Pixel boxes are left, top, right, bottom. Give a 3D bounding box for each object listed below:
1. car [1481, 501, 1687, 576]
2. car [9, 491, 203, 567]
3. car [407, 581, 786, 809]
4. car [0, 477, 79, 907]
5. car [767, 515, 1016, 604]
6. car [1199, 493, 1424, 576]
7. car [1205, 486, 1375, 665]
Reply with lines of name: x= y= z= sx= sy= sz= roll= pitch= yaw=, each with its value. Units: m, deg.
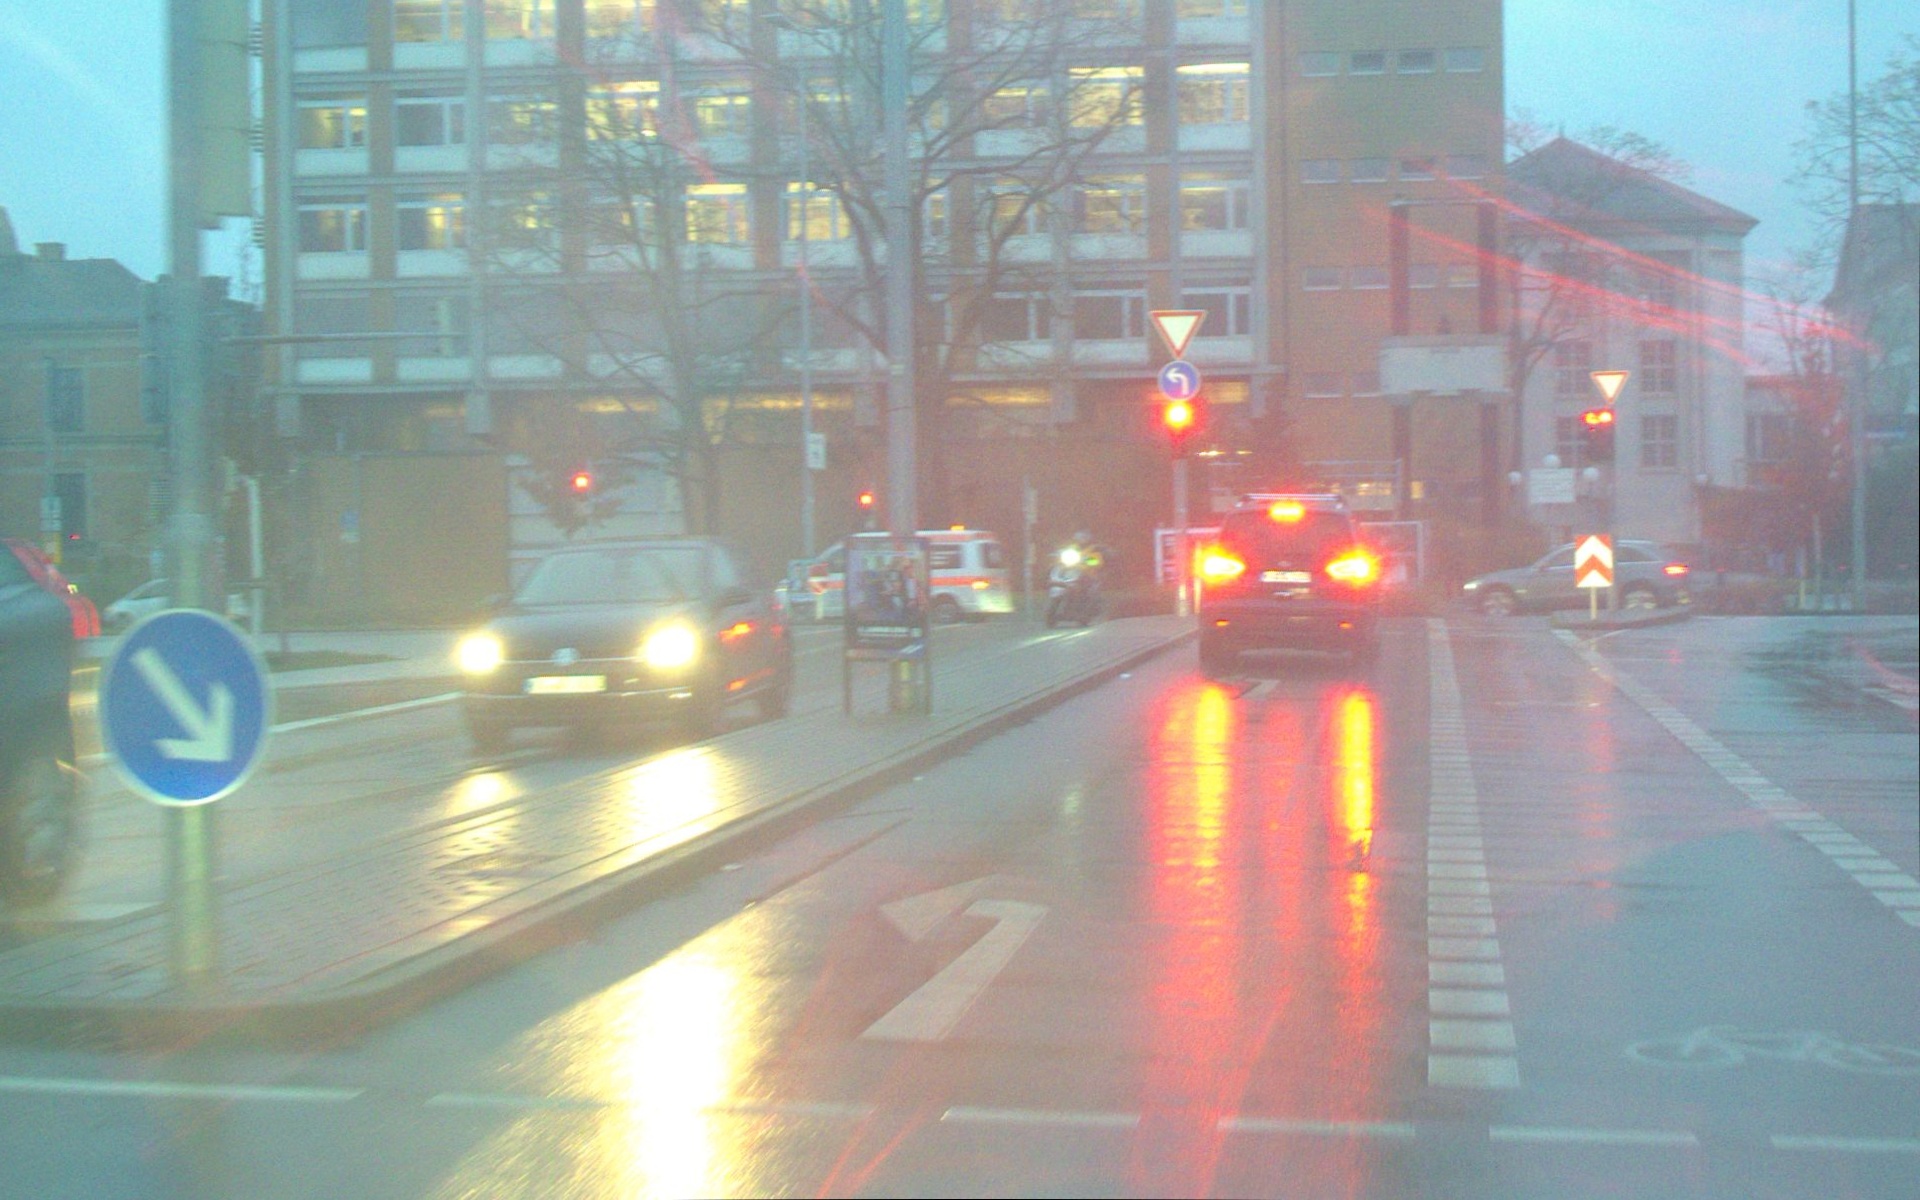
car: x=12.824 y=-1.262 z=70.679 sx=3.921 sy=1.480 sz=1.467 roll=1 pitch=-1 yaw=23
car: x=-23.716 y=-1.983 z=95.464 sx=4.936 sy=2.007 sz=1.998 roll=1 pitch=-1 yaw=20
car: x=-2.538 y=0.628 z=25.069 sx=1.747 sy=1.373 sz=4.365 roll=-2 pitch=1 yaw=7
car: x=-4.771 y=0.418 z=11.909 sx=1.754 sy=1.656 sz=4.529 roll=-2 pitch=1 yaw=7
car: x=-1.520 y=-0.919 z=76.290 sx=5.161 sy=1.906 sz=1.997 roll=1 pitch=1 yaw=24
car: x=9.123 y=-1.696 z=89.162 sx=5.550 sy=2.017 sz=1.999 roll=1 pitch=-1 yaw=14
car: x=3.612 y=-0.305 z=37.127 sx=1.647 sy=1.812 sz=3.999 roll=1 pitch=2 yaw=8
